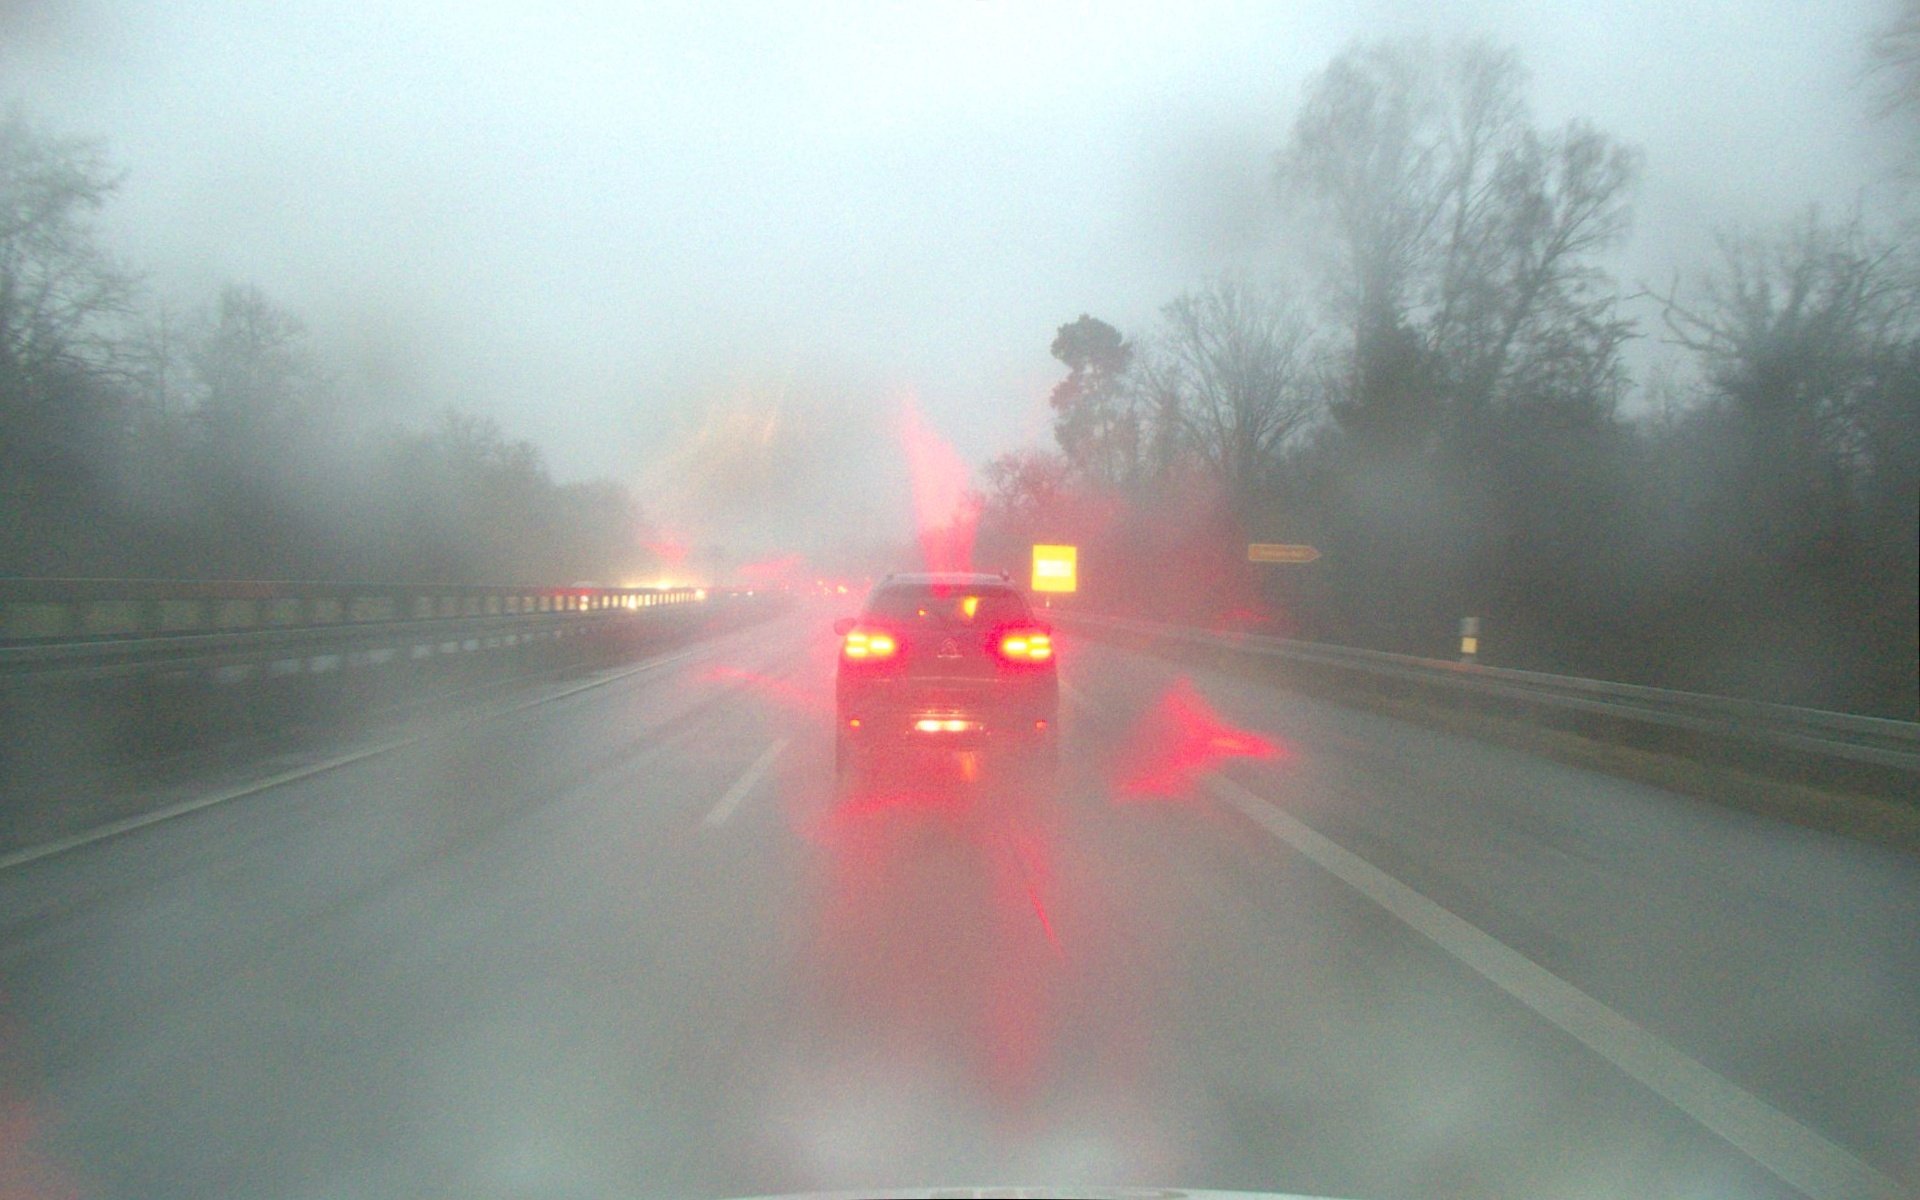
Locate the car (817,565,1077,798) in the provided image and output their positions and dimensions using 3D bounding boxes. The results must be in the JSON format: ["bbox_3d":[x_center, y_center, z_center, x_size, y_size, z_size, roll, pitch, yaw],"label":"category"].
[{"bbox_3d":[-0.135,0.620,14.491,1.951,1.745,3.829,1,0,-1],"label":"car"}]

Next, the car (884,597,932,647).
[{"bbox_3d":[-2.256,0.905,70.734,1.954,2.049,3.998,1,0,-3],"label":"car"}]
